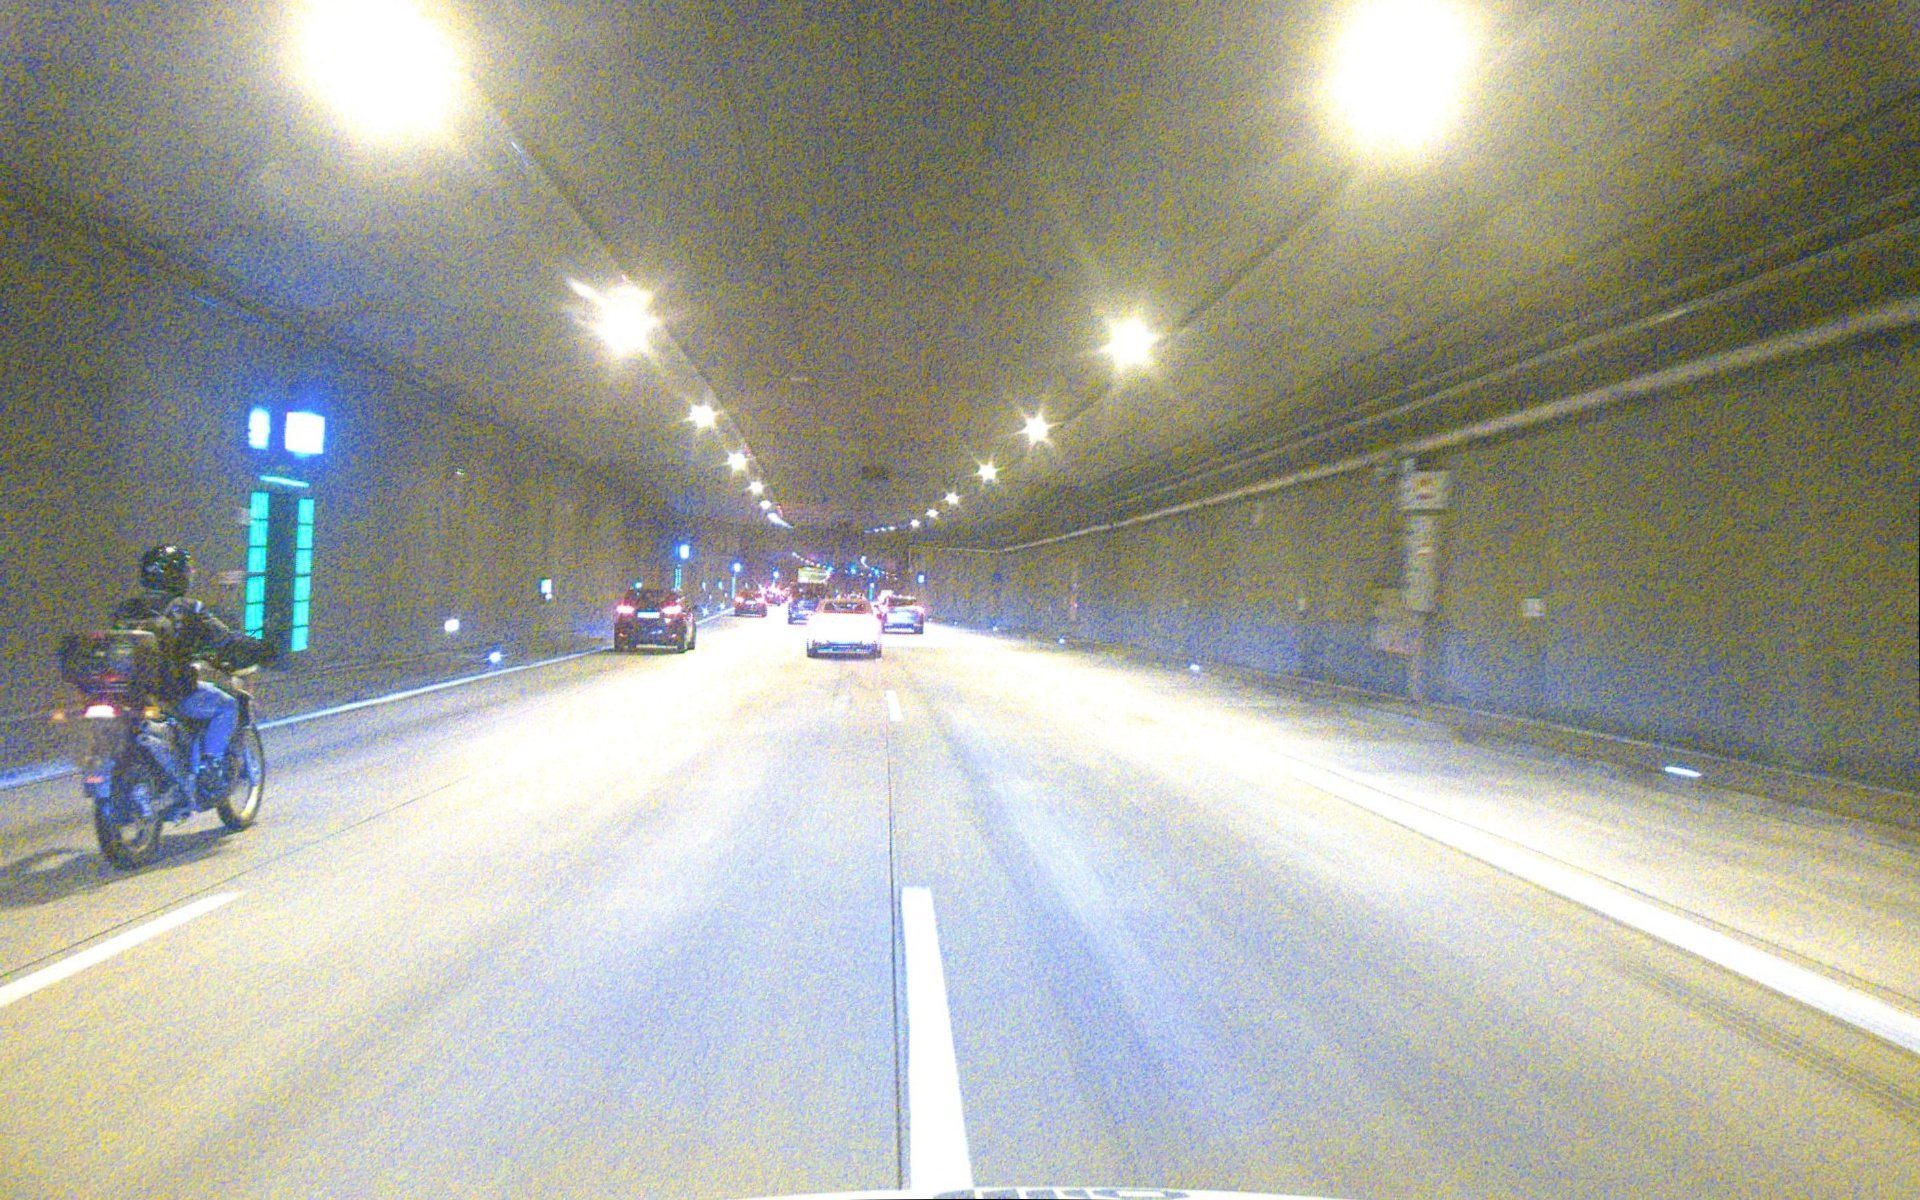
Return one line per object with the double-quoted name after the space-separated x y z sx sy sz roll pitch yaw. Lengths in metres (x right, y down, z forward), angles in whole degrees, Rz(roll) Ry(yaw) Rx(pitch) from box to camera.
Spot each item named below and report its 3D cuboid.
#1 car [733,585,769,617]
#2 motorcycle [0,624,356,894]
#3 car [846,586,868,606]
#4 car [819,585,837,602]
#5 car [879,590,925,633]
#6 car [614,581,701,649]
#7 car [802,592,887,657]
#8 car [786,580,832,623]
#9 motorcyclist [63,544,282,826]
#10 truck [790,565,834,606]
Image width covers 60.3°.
-11.619 0.060 92.079 1.765 1.713 3.996 0 0 -5 "car"
-4.348 0.802 9.446 0.828 1.267 2.604 0 1 0 "motorcycle"
-9.716 -0.372 156.126 1.955 1.785 3.996 1 0 -5 "car"
-15.001 -0.718 187.580 1.955 1.785 3.995 1 0 -5 "car"
-2.305 0.446 66.094 1.802 1.630 3.999 0 0 -2 "car"
-7.572 0.356 41.635 1.750 1.626 3.798 0 0 -4 "car"
-2.842 0.560 40.419 1.954 1.509 3.996 0 0 -5 "car"
-7.104 0.070 78.270 1.953 2.006 3.998 0 0 -2 "car"
-4.362 0.452 9.223 0.822 1.503 0.821 0 0 0 "motorcyclist"
-11.864 -1.196 133.259 3.021 3.167 10.024 1 1 -3 "truck"
